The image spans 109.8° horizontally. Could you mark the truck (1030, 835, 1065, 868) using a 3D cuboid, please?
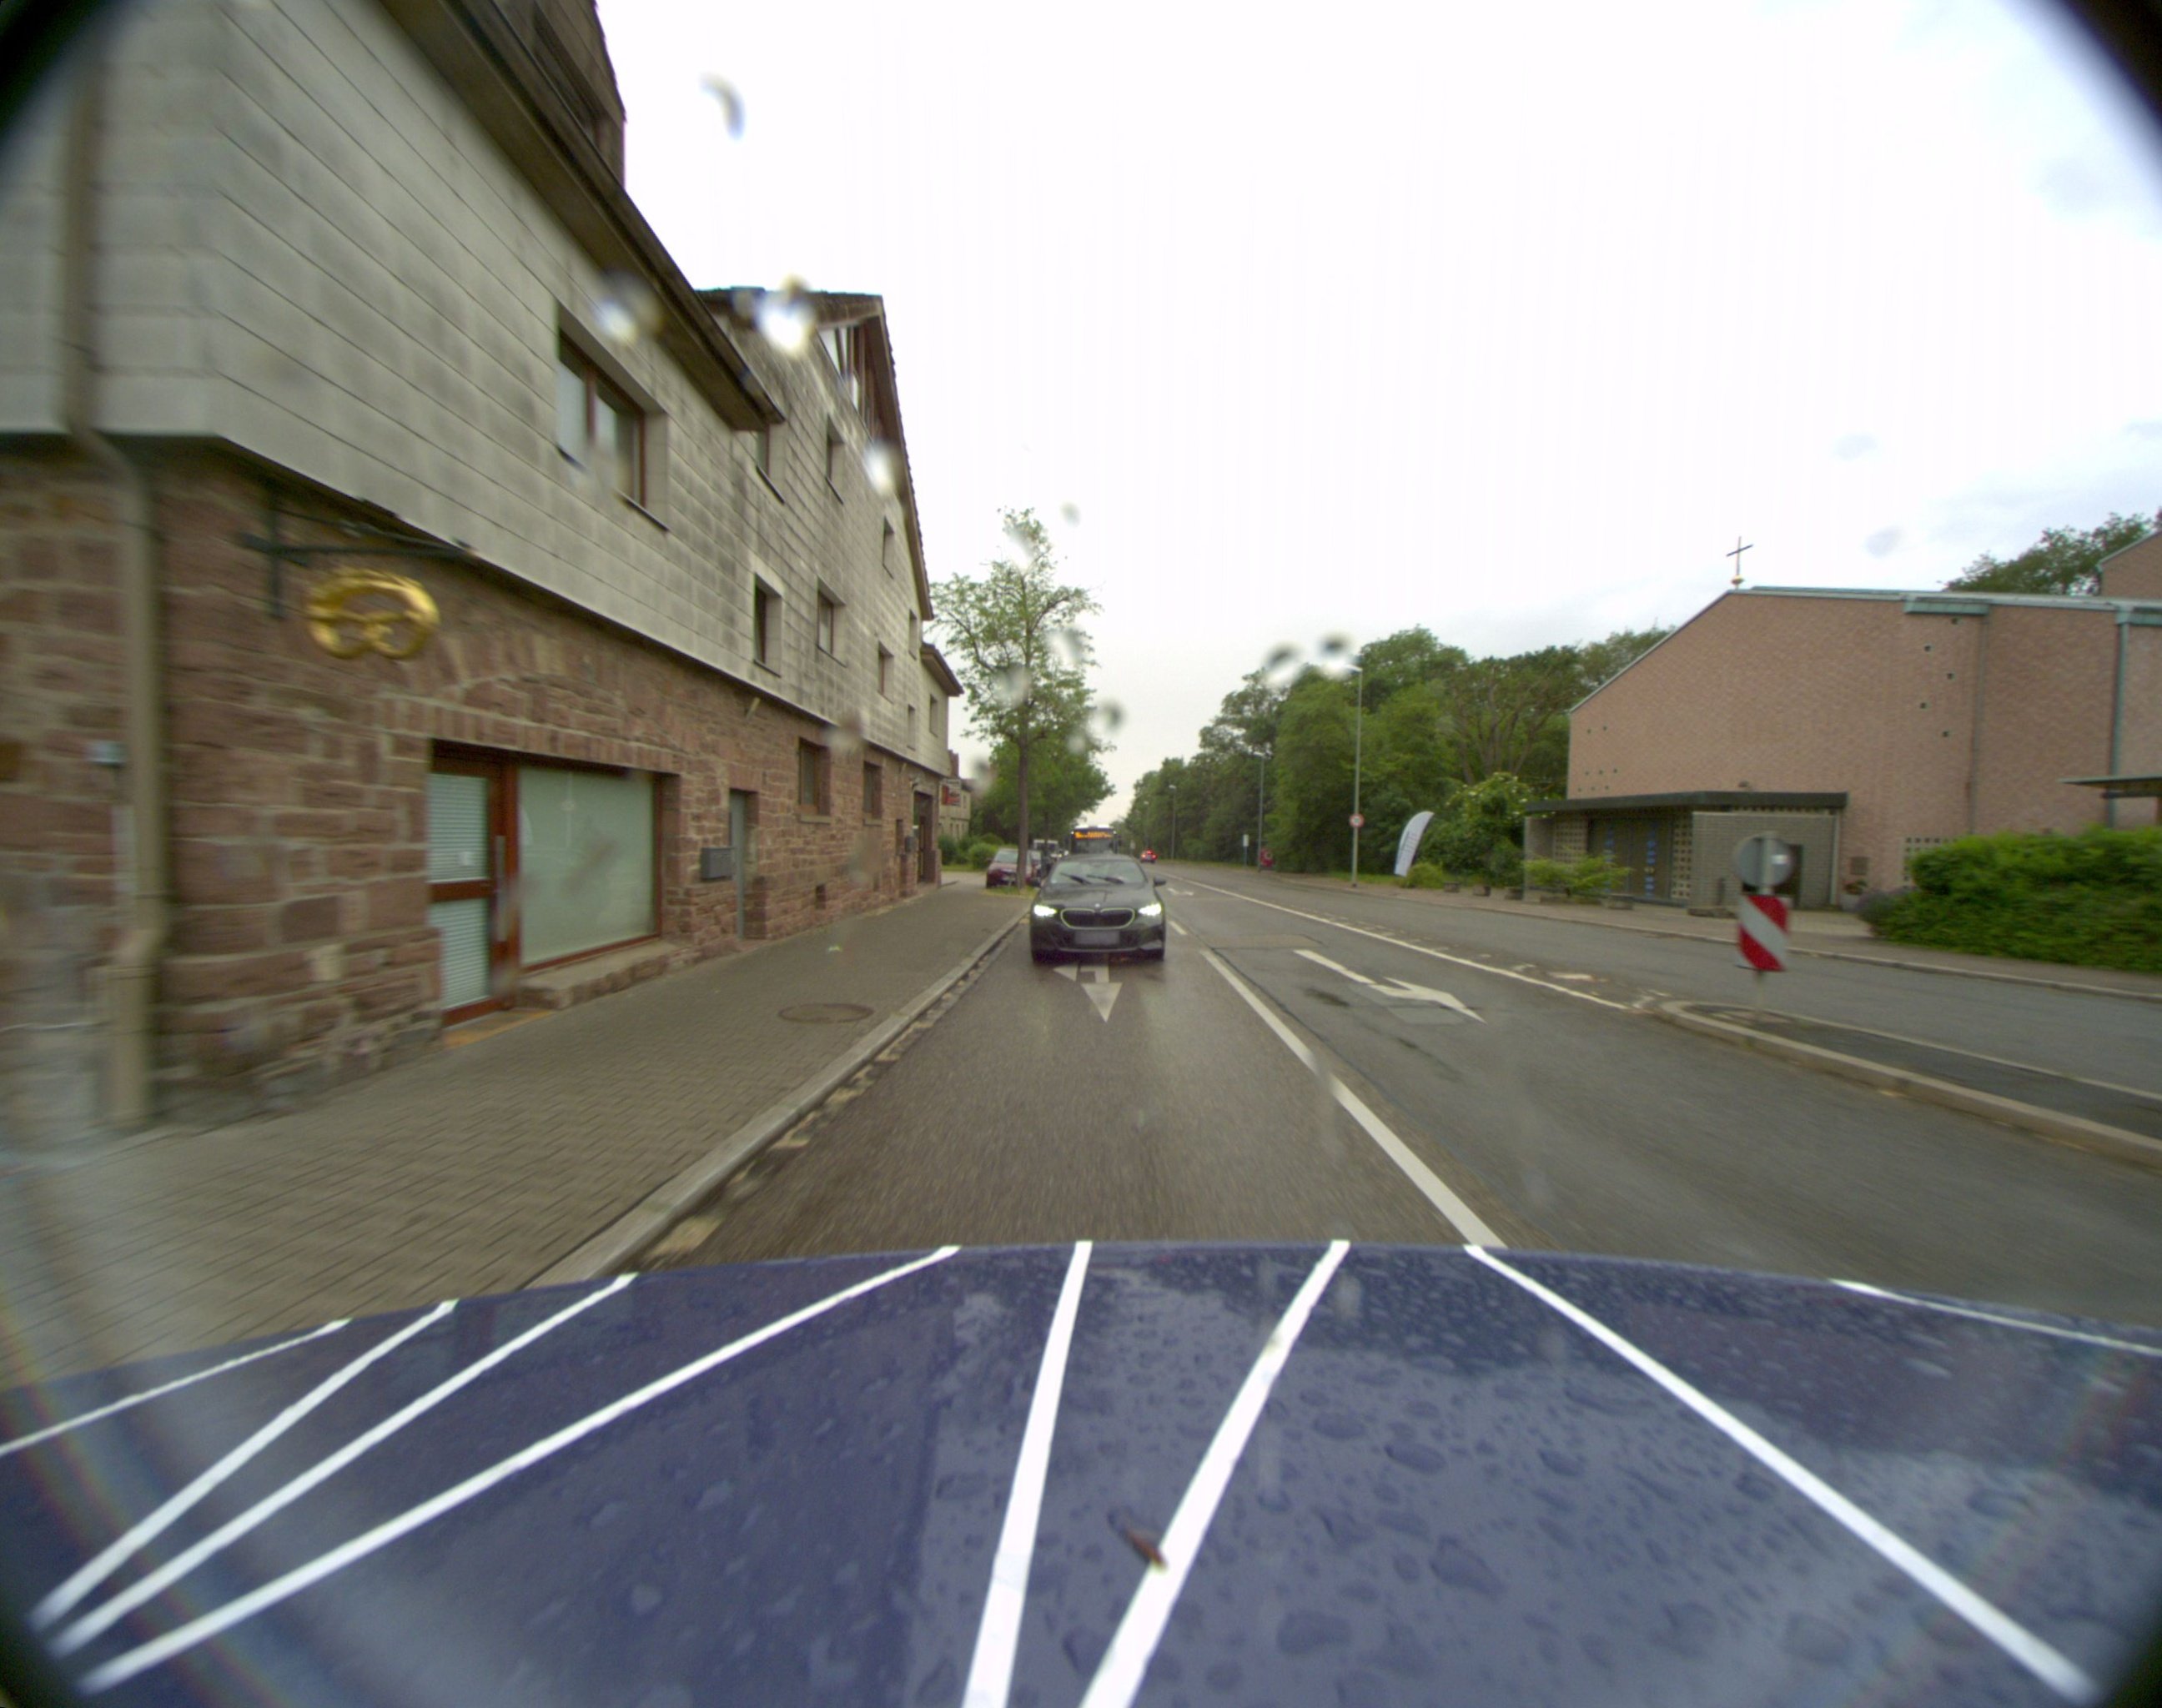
[{"bbox_3d":[-2.282,-0.185,53.128,1.998,2.184,5.756,1,0,2],"label":"truck"}]

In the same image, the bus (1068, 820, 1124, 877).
[{"bbox_3d":[0.925,-0.376,43.086,2.767,2.858,9.402,-1,1,2],"label":"bus"}]

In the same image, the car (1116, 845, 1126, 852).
[{"bbox_3d":[8.914,-1.285,170.349,1.915,1.445,4.947,4,1,-1],"label":"car"}]

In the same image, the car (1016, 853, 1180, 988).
[{"bbox_3d":[0.247,0.781,11.101,1.882,1.520,4.316,-2,1,1],"label":"car"}]

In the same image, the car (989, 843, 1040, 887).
[{"bbox_3d":[-2.370,0.402,27.862,1.614,1.494,3.756,-1,-1,-2],"label":"car"}]

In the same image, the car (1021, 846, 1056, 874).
[{"bbox_3d":[-2.383,0.306,43.445,1.720,1.456,3.999,3,1,0],"label":"car"}]

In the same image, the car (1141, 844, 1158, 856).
[{"bbox_3d":[9.534,-0.537,106.003,1.913,1.581,4.316,1,1,-2],"label":"car"}]

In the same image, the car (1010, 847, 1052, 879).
[{"bbox_3d":[-2.444,0.419,38.145,1.720,1.416,3.999,3,1,1],"label":"car"}]
